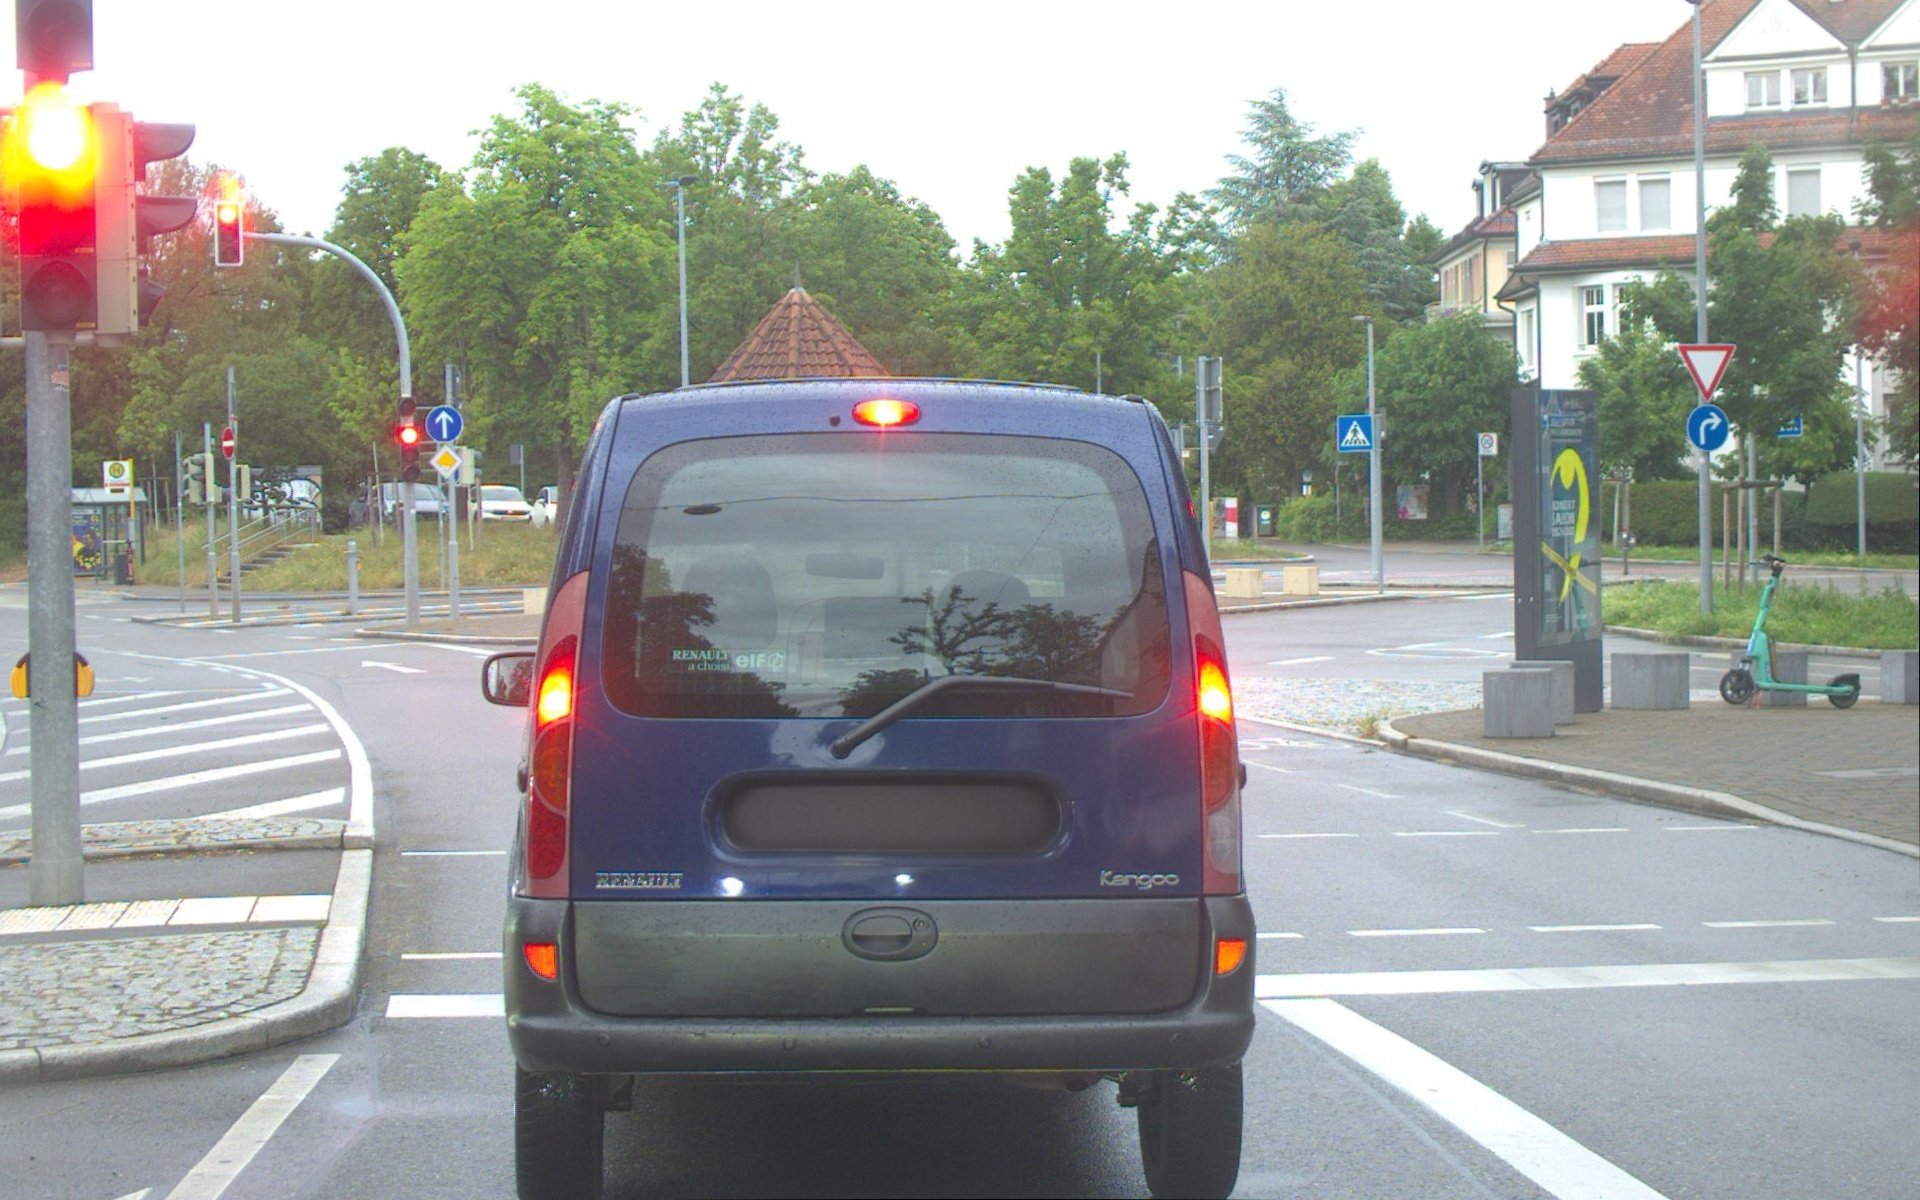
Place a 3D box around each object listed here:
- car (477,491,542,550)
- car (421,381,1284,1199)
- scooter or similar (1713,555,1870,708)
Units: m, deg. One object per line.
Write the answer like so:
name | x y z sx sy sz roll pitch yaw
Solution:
car | -14.361 -2.513 109.843 1.993 1.806 4.001 0 0 -7
car | -0.296 0.408 8.915 1.731 1.780 4.001 0 1 -2
scooter or similar | 6.717 0.250 27.787 1.149 1.215 0.406 -1 0 -1
